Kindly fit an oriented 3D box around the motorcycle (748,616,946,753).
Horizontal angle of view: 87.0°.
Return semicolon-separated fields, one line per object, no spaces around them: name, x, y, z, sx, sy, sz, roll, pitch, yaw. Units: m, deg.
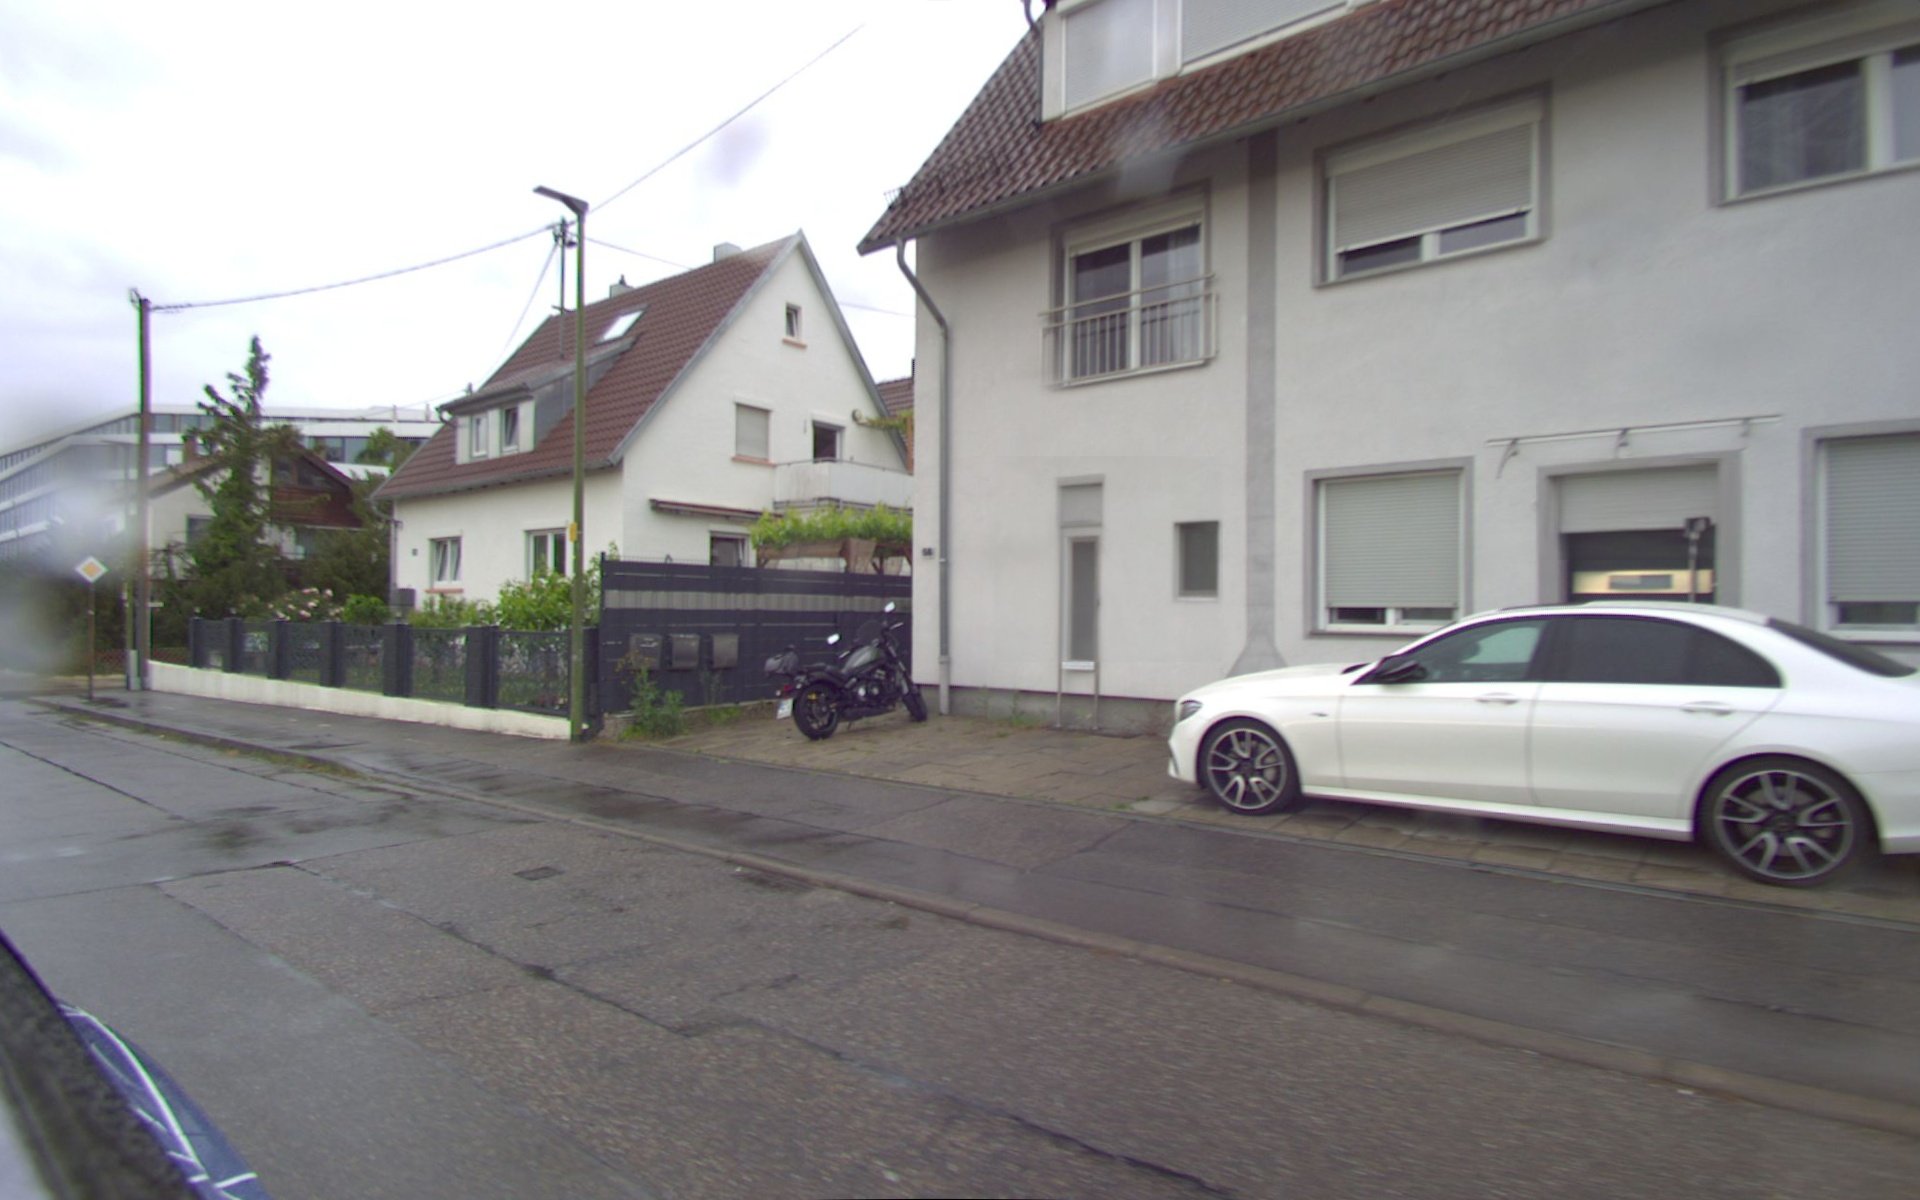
motorcycle;-1.224;0.887;11.530;0.735;1.283;2.339;-1;2;40

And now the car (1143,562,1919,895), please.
car;3.865;0.614;6.610;4.891;1.521;1.974;-1;2;40

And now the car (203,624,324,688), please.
car;-18.045;1.381;26.186;3.455;1.478;1.760;-1;0;41
